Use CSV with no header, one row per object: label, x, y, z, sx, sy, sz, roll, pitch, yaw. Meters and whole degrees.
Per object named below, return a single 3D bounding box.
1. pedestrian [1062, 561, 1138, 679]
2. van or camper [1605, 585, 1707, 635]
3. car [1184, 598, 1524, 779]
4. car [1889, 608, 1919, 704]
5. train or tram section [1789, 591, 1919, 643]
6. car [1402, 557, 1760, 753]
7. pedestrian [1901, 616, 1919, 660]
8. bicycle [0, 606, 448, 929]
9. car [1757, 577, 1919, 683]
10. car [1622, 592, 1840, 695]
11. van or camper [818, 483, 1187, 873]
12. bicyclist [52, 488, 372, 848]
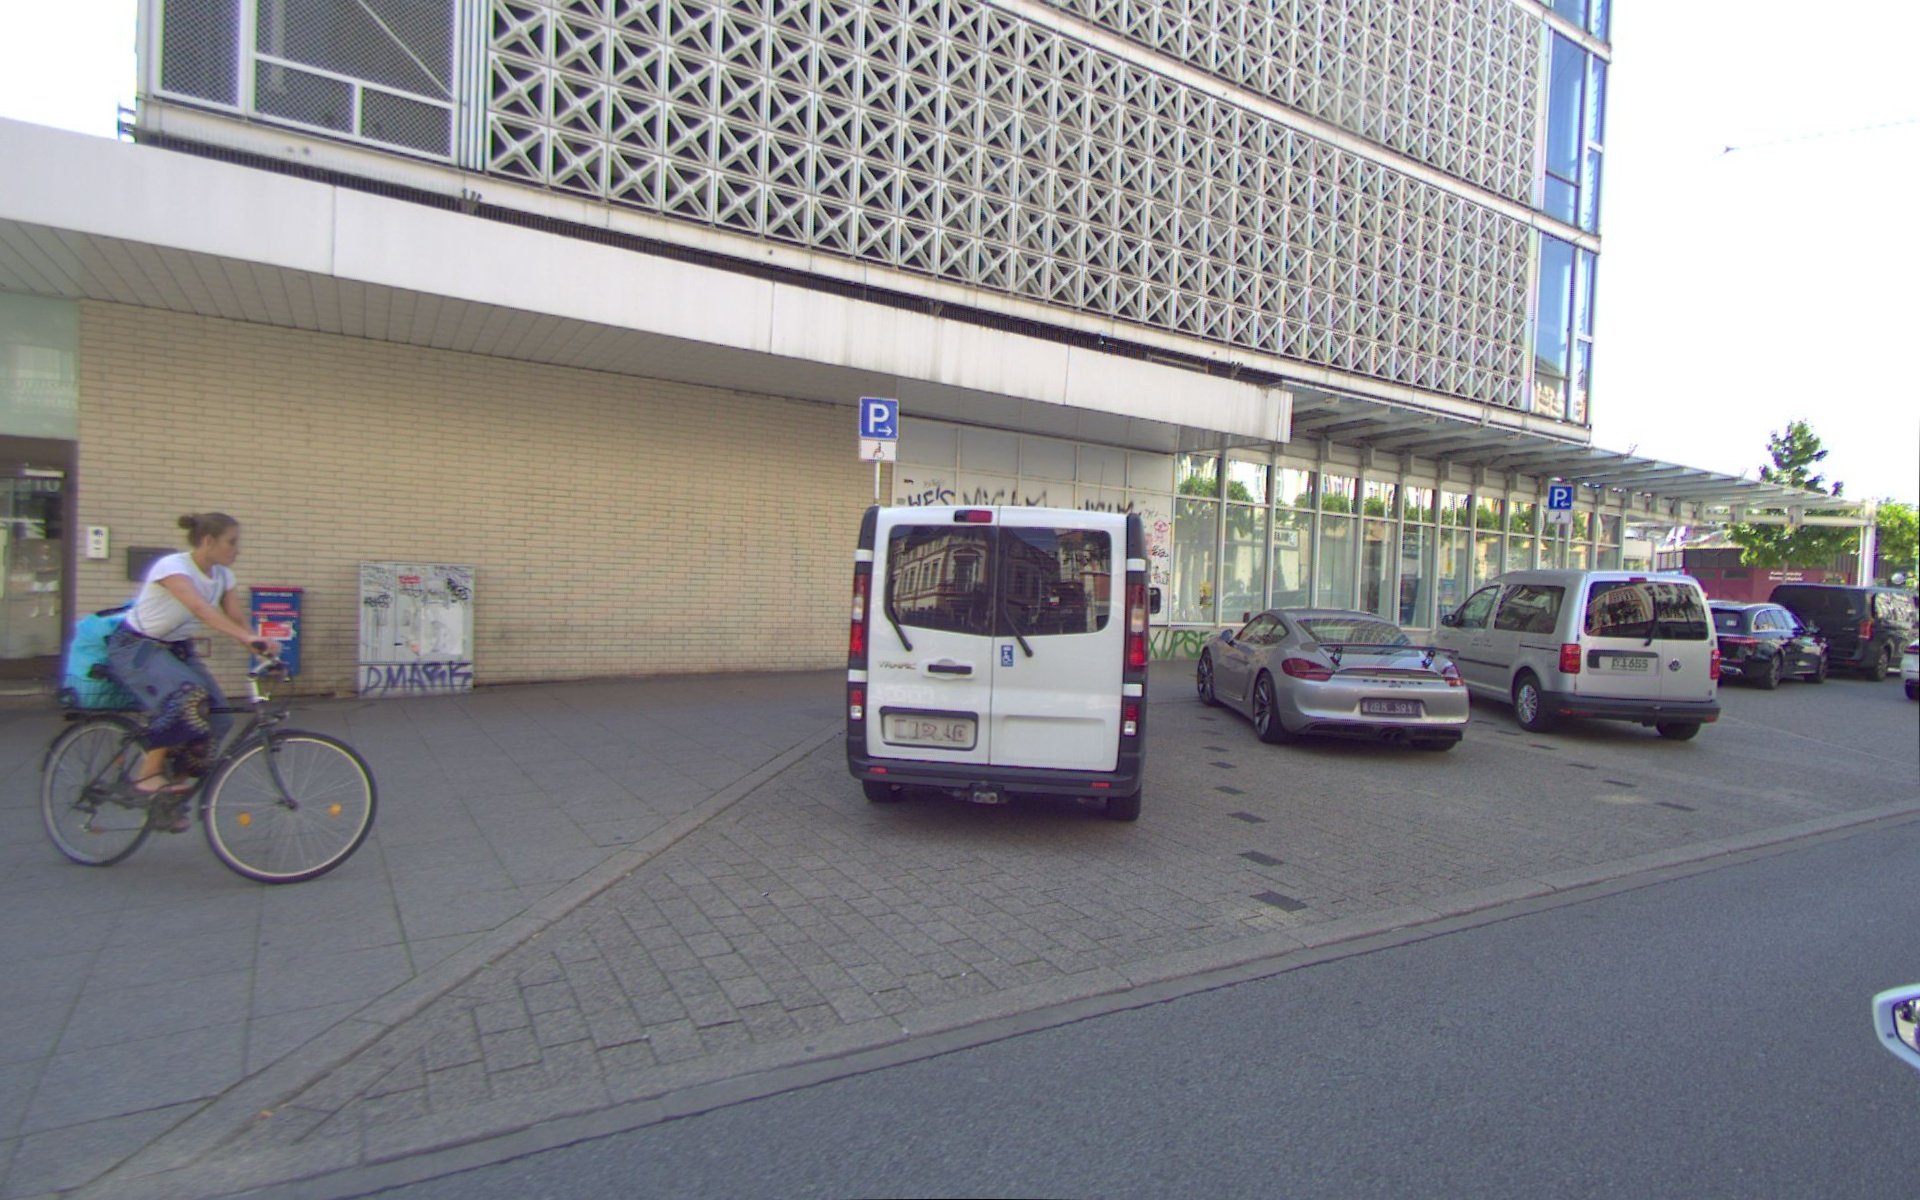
pedestrian,2.027,0.284,14.563,0.854,1.658,0.584,1,2,-32
van or camper,30.594,0.452,44.118,4.971,1.944,1.861,2,1,-33
car,3.853,0.758,10.768,1.932,1.304,4.298,3,2,1
car,17.793,0.969,16.973,4.684,1.543,1.789,1,2,-31
train or tram section,72.518,1.402,79.617,10.780,3.726,2.622,2,1,5
car,7.283,0.517,12.457,1.969,1.935,4.448,2,1,6
pedestrian,37.594,1.507,39.510,0.681,1.700,0.665,1,2,-39
bicycle,-3.669,0.714,4.875,2.167,1.284,0.736,2,2,15
car,19.181,0.618,21.451,4.631,2.041,1.823,1,1,-31
car,14.369,0.762,18.664,4.357,1.632,1.980,2,2,-36
van or camper,0.549,0.331,7.816,1.959,2.041,4.662,2,2,9
bicyclist,-3.572,0.278,4.843,1.055,1.560,0.736,2,2,15
